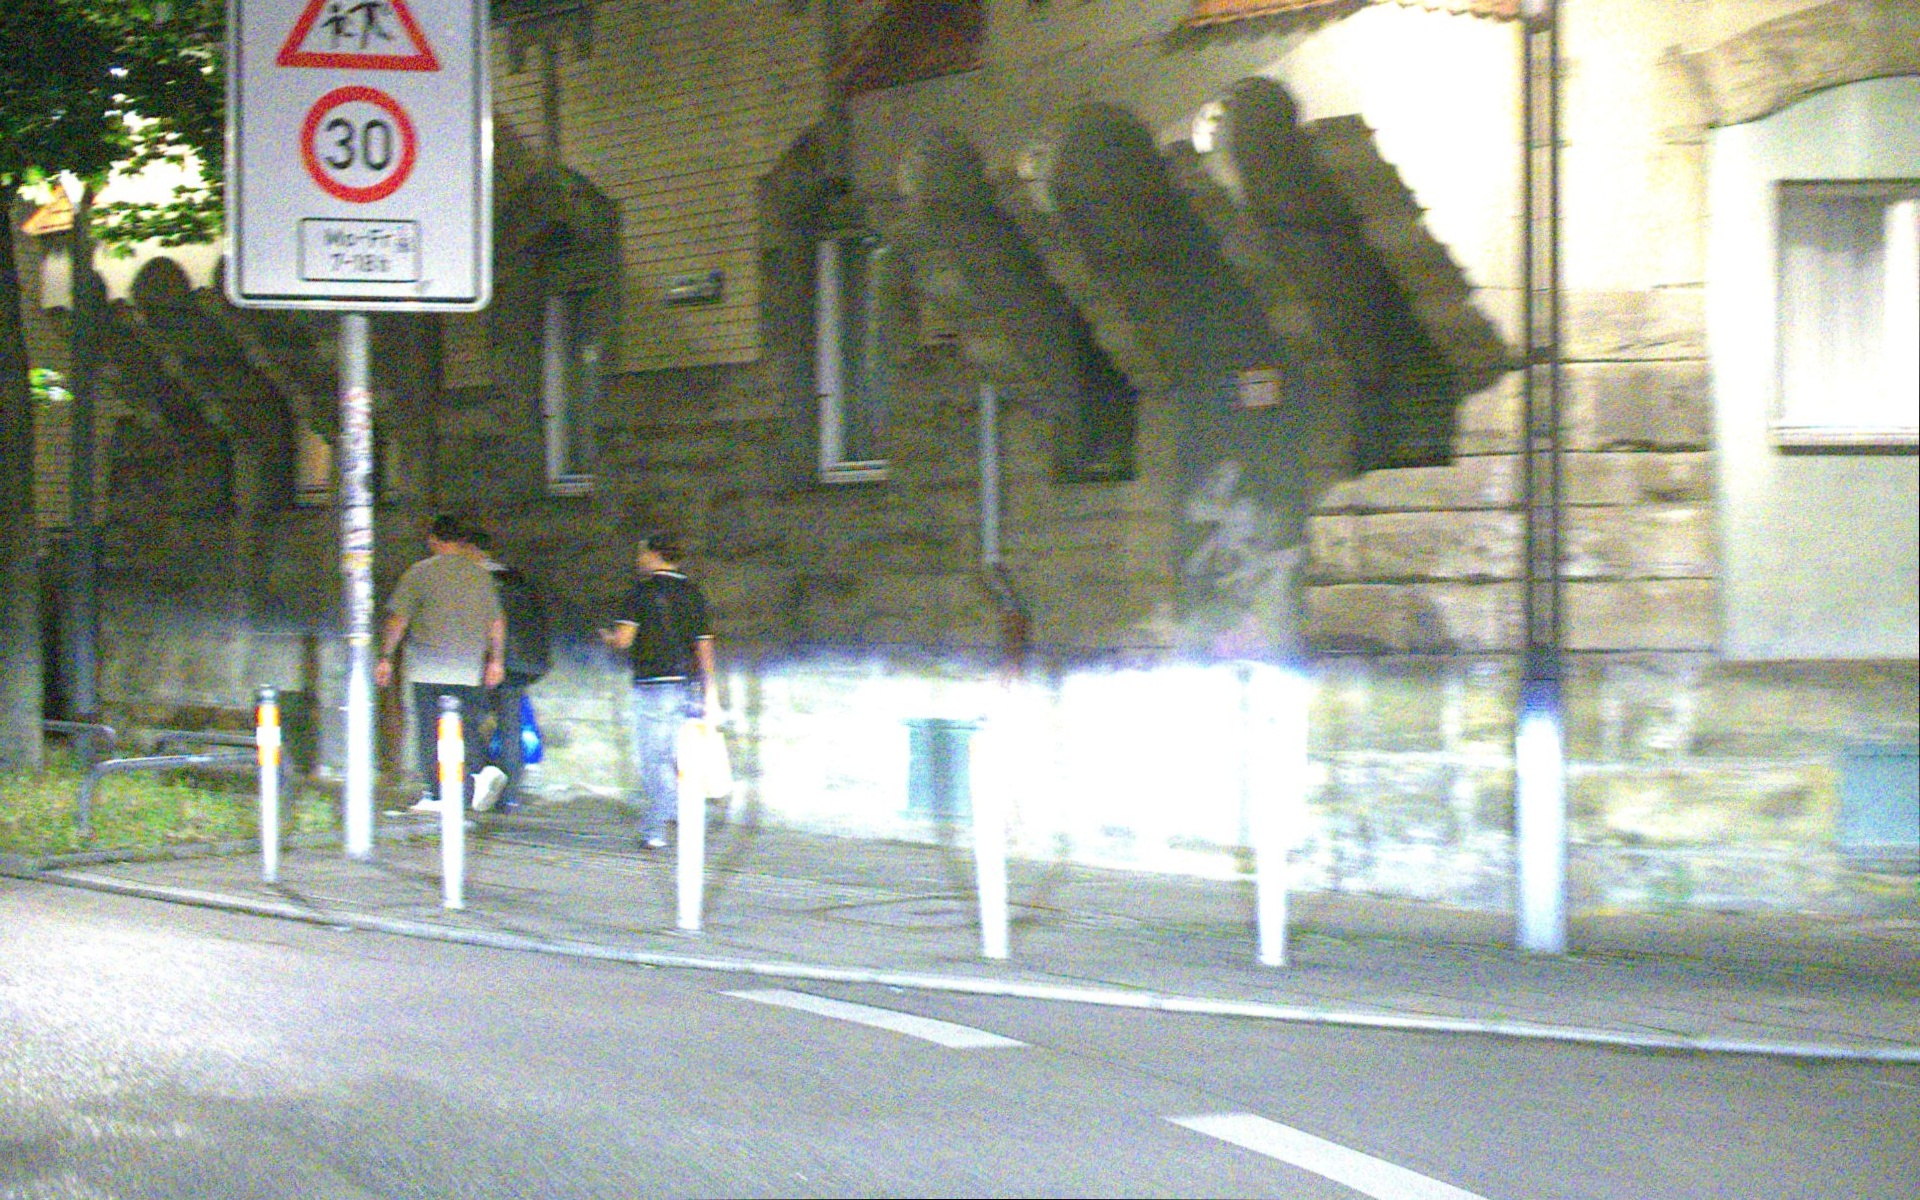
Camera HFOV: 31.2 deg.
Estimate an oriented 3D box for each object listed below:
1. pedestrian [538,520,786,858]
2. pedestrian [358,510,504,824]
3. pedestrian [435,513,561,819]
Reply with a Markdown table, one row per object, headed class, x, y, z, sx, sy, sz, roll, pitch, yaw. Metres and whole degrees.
| class | x | y | z | sx | sy | sz | roll | pitch | yaw |
| --- | --- | --- | --- | --- | --- | --- | --- | --- | --- |
| pedestrian | -1.492 | 0.426 | 17.139 | 0.807 | 1.625 | 0.966 | 0 | 0 | -40 |
| pedestrian | -2.934 | 0.356 | 19.056 | 0.507 | 1.703 | 0.704 | 0 | 1 | -40 |
| pedestrian | -2.622 | 0.361 | 19.511 | 0.477 | 1.703 | 0.571 | 0 | 1 | -40 |
